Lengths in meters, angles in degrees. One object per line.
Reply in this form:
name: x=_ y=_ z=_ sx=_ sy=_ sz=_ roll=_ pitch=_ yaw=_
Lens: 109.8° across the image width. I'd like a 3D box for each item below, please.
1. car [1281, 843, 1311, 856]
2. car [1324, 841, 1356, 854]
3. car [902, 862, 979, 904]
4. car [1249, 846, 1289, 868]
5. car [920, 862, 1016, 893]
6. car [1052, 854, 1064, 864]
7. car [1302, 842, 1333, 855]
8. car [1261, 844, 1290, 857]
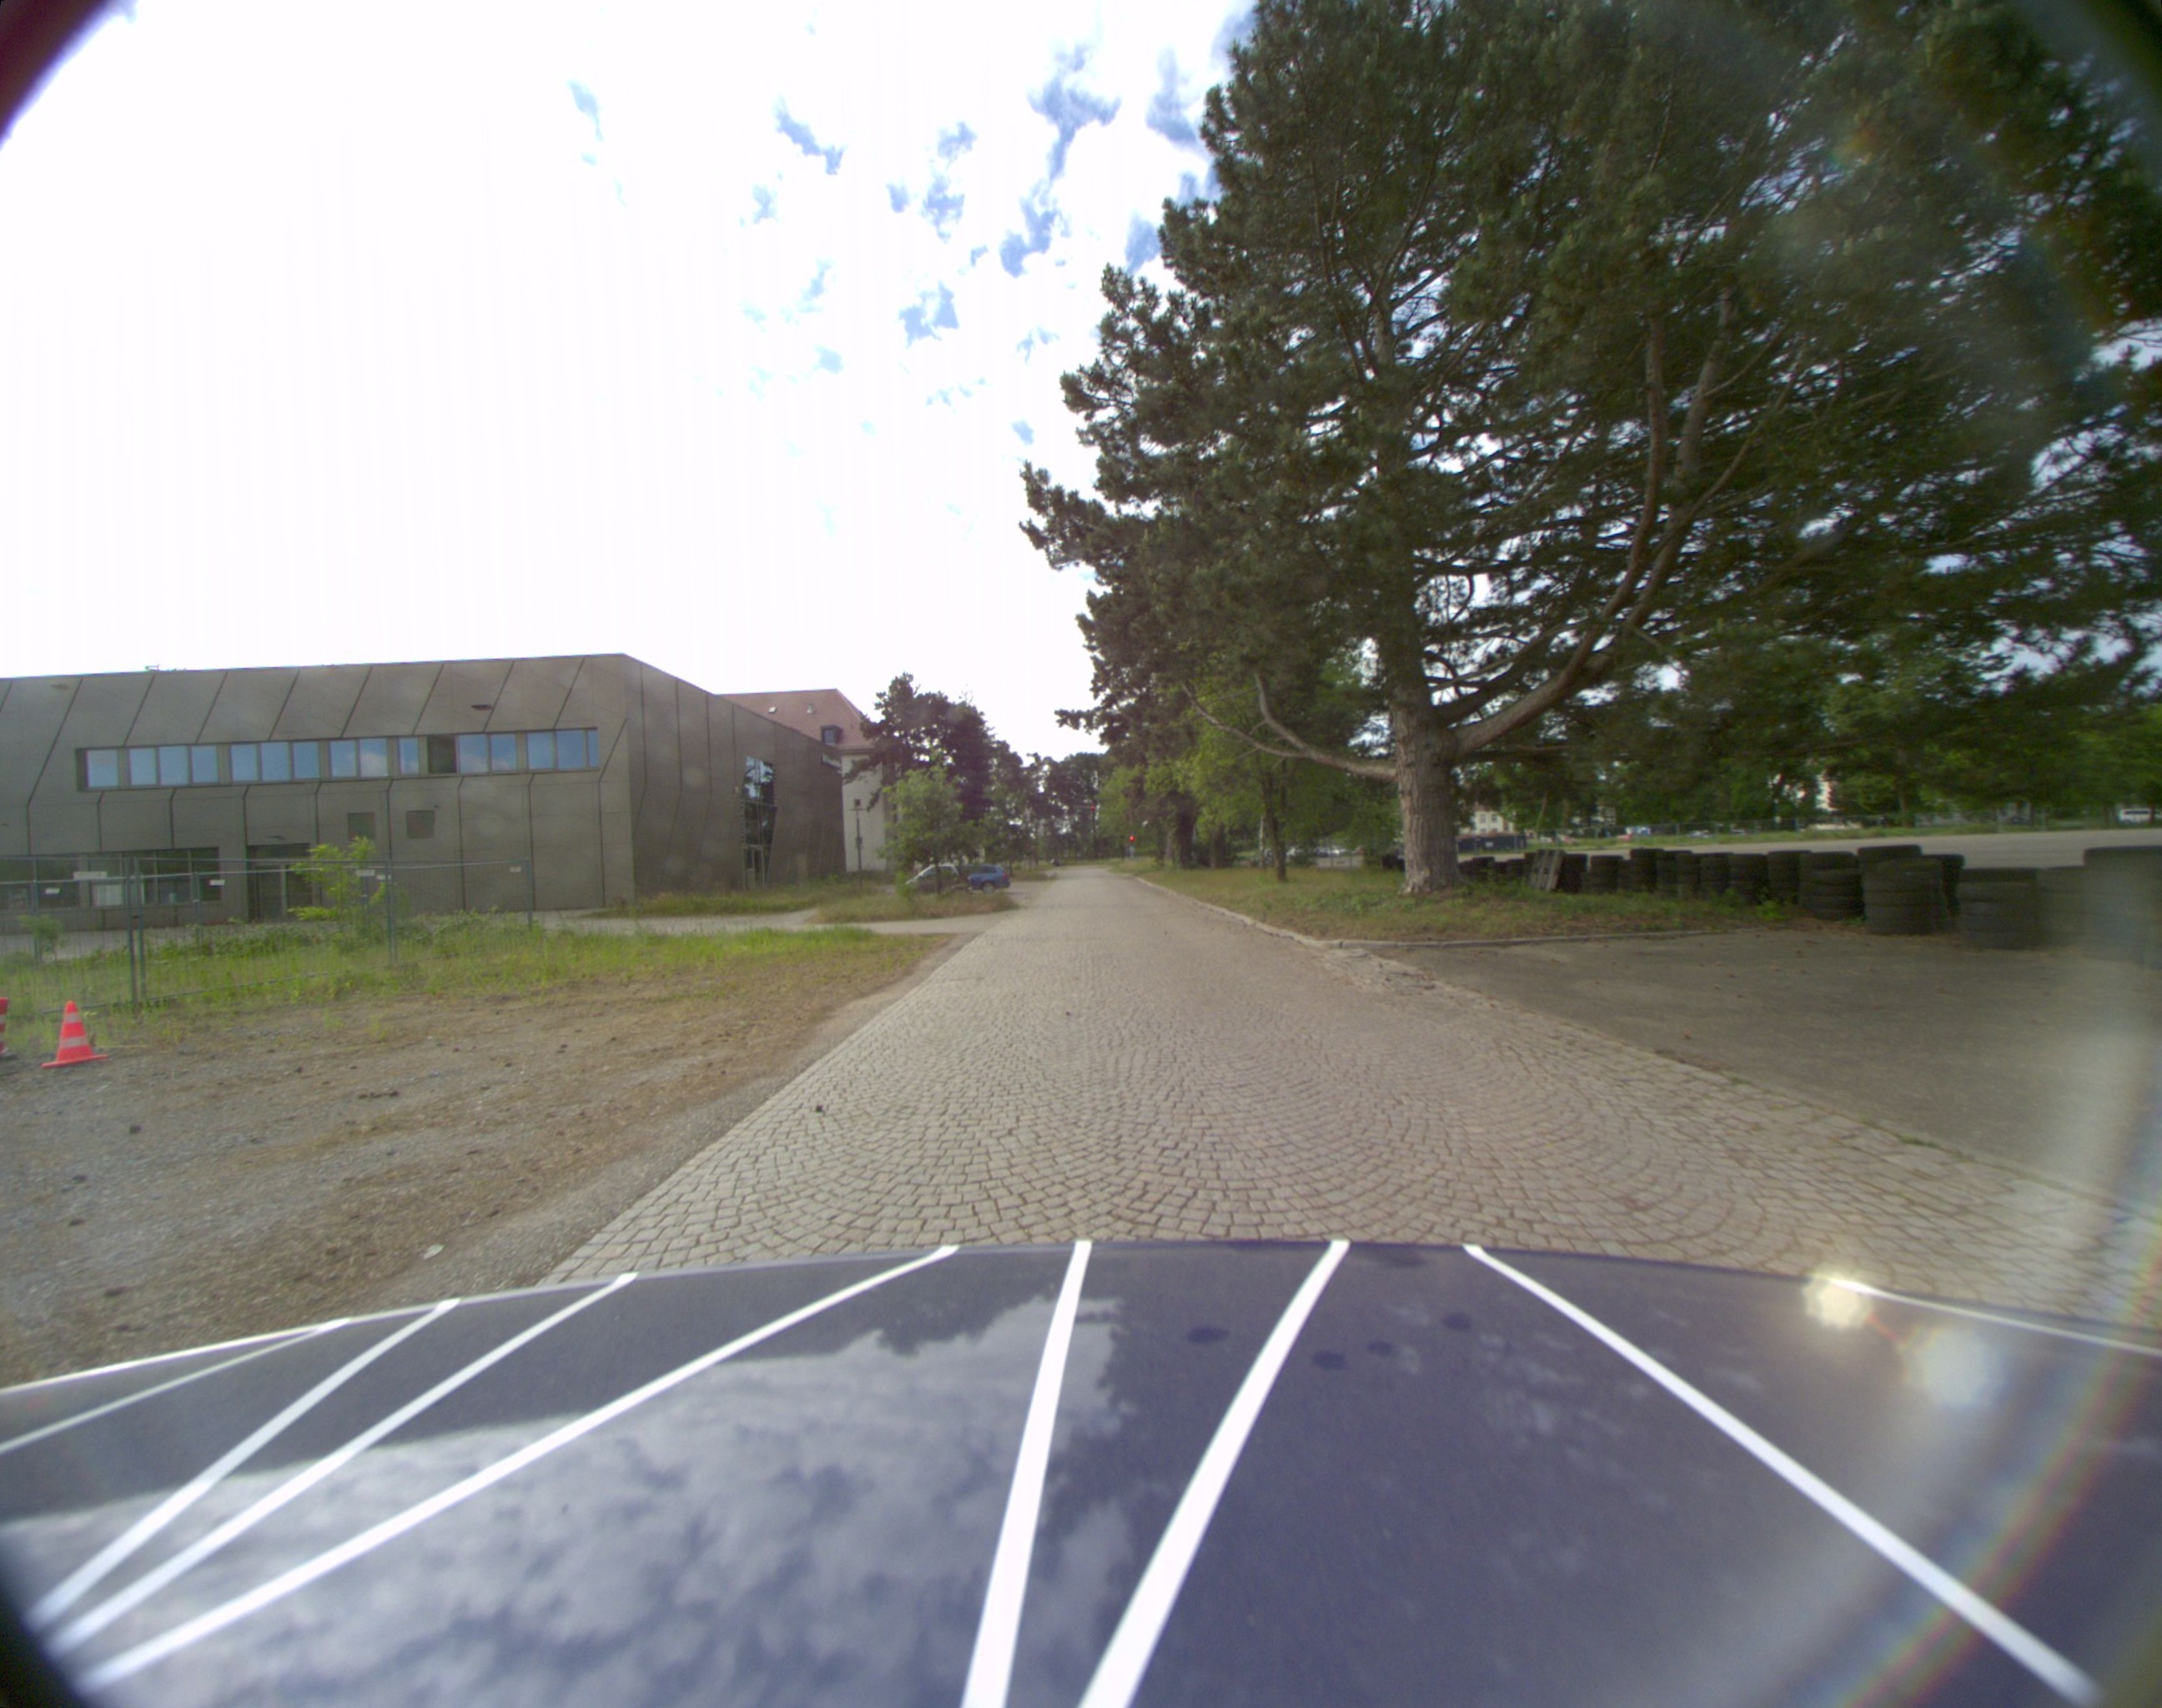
car: x=25.424 y=-0.507 z=90.098 sx=1.999 sy=1.441 sz=4.451 roll=-3 pitch=0 yaw=-3
car: x=30.882 y=-0.803 z=90.727 sx=1.999 sy=1.441 sz=4.451 roll=-3 pitch=0 yaw=-3
car: x=-5.600 y=1.143 z=30.419 sx=2.748 sy=1.573 sz=1.682 roll=0 pitch=0 yaw=0
car: x=12.826 y=0.201 z=52.050 sx=1.670 sy=1.402 sz=3.723 roll=-3 pitch=0 yaw=-2
car: x=-5.565 y=1.140 z=37.794 sx=4.537 sy=1.441 sz=1.931 roll=0 pitch=0 yaw=-2
car: x=-4.685 y=1.004 z=153.303 sx=1.999 sy=1.777 sz=3.998 roll=-3 pitch=0 yaw=-6
car: x=28.004 y=-0.644 z=90.198 sx=1.999 sy=1.441 sz=4.451 roll=-3 pitch=0 yaw=-3
car: x=22.920 y=-0.368 z=89.618 sx=1.999 sy=1.441 sz=4.451 roll=-3 pitch=0 yaw=-3
